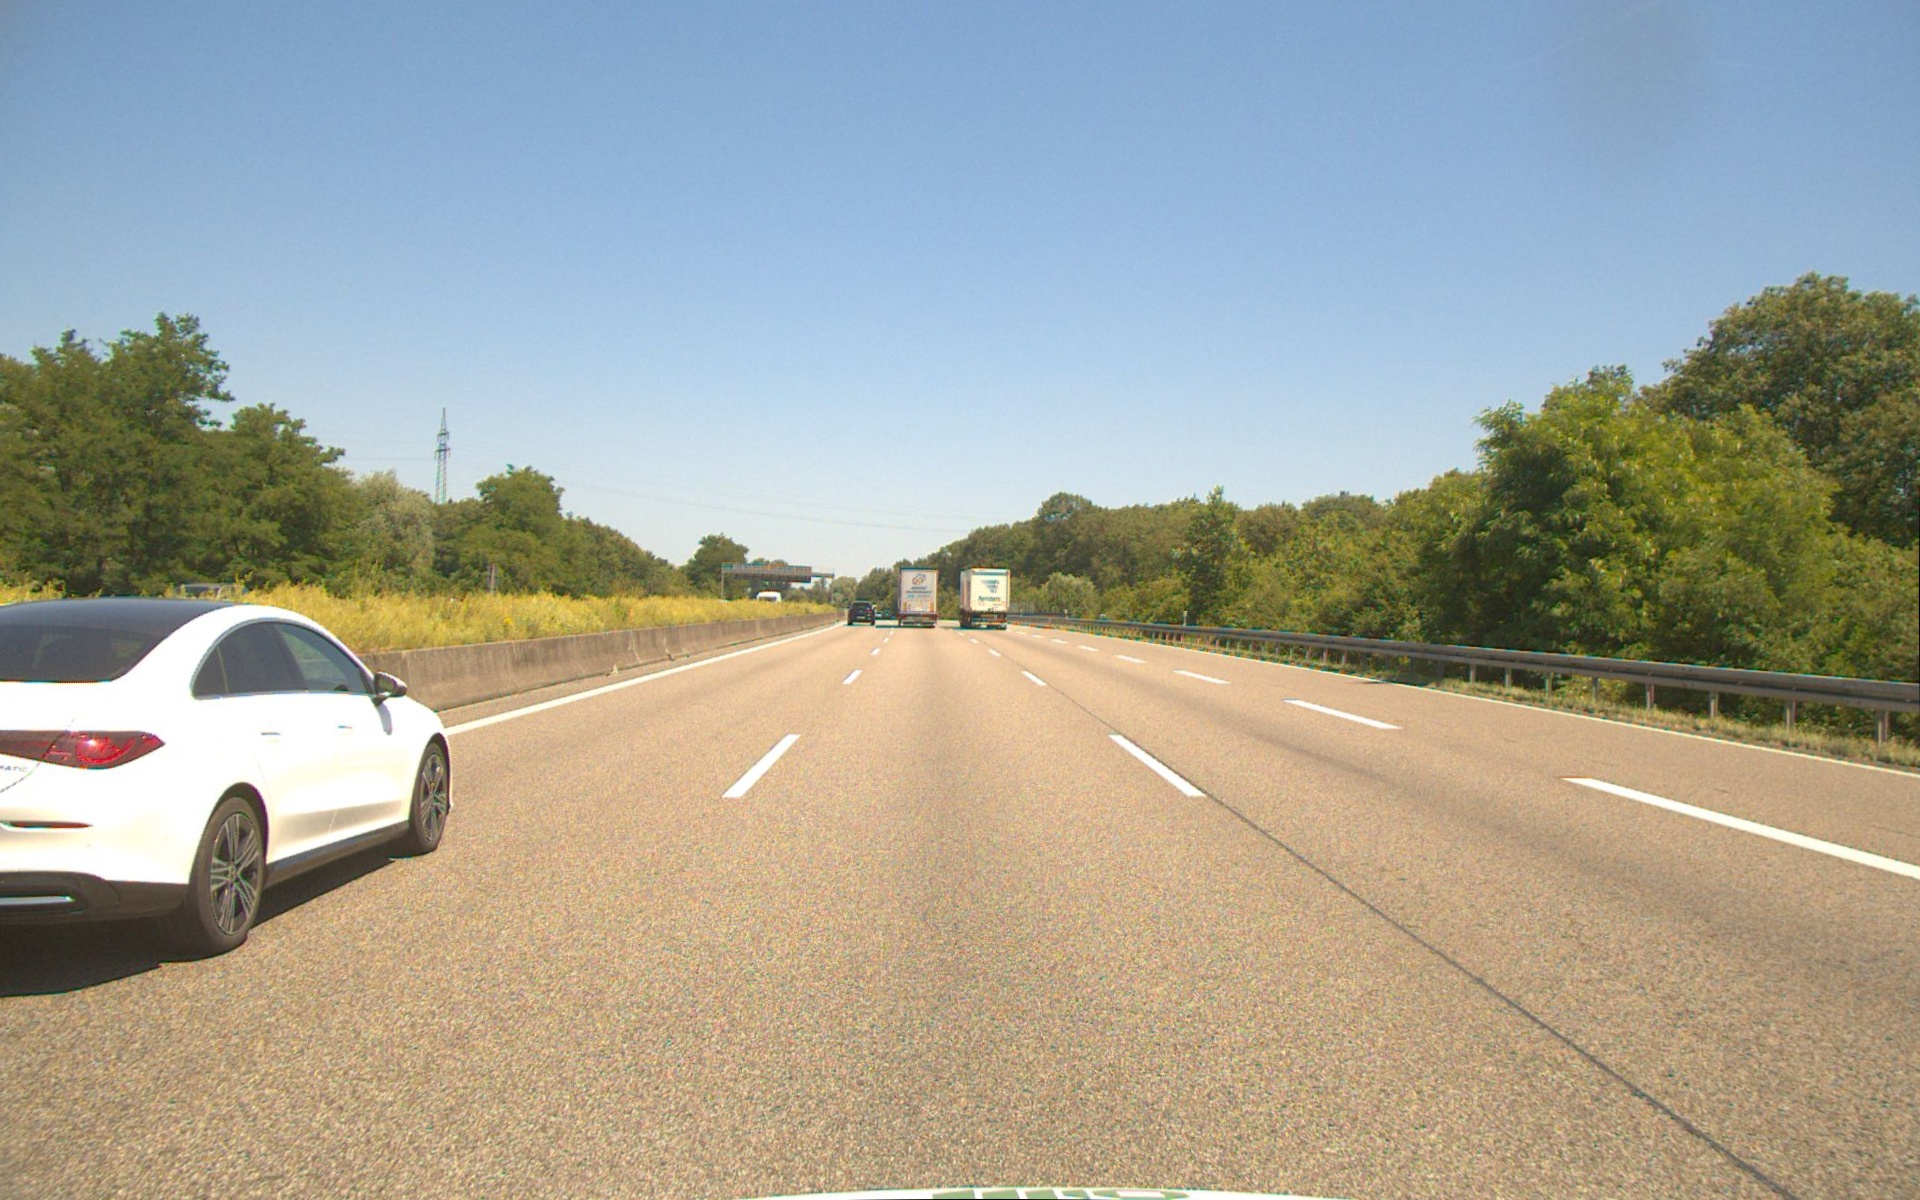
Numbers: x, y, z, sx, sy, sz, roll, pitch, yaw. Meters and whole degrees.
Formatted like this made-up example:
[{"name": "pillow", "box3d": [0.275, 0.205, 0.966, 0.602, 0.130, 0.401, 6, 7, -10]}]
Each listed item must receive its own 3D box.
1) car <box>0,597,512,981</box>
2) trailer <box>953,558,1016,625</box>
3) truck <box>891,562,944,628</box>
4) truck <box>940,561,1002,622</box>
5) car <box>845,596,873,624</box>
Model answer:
[{"name": "car", "box3d": [-3.920, 0.755, 8.962, 1.731, 1.474, 5.106, -1, 0, -2]}, {"name": "trailer", "box3d": [1.581, -0.593, 110.440, 3.301, 4.215, 9.083, 1, 1, -5]}, {"name": "truck", "box3d": [-2.986, -0.366, 113.201, 3.166, 4.275, 8.459, 1, 0, -4]}, {"name": "truck", "box3d": [0.708, -0.654, 119.456, 3.261, 4.123, 10.941, 1, 1, -6]}, {"name": "car", "box3d": [-7.339, 0.713, 120.287, 1.954, 1.907, 3.996, 1, 1, -5]}]
